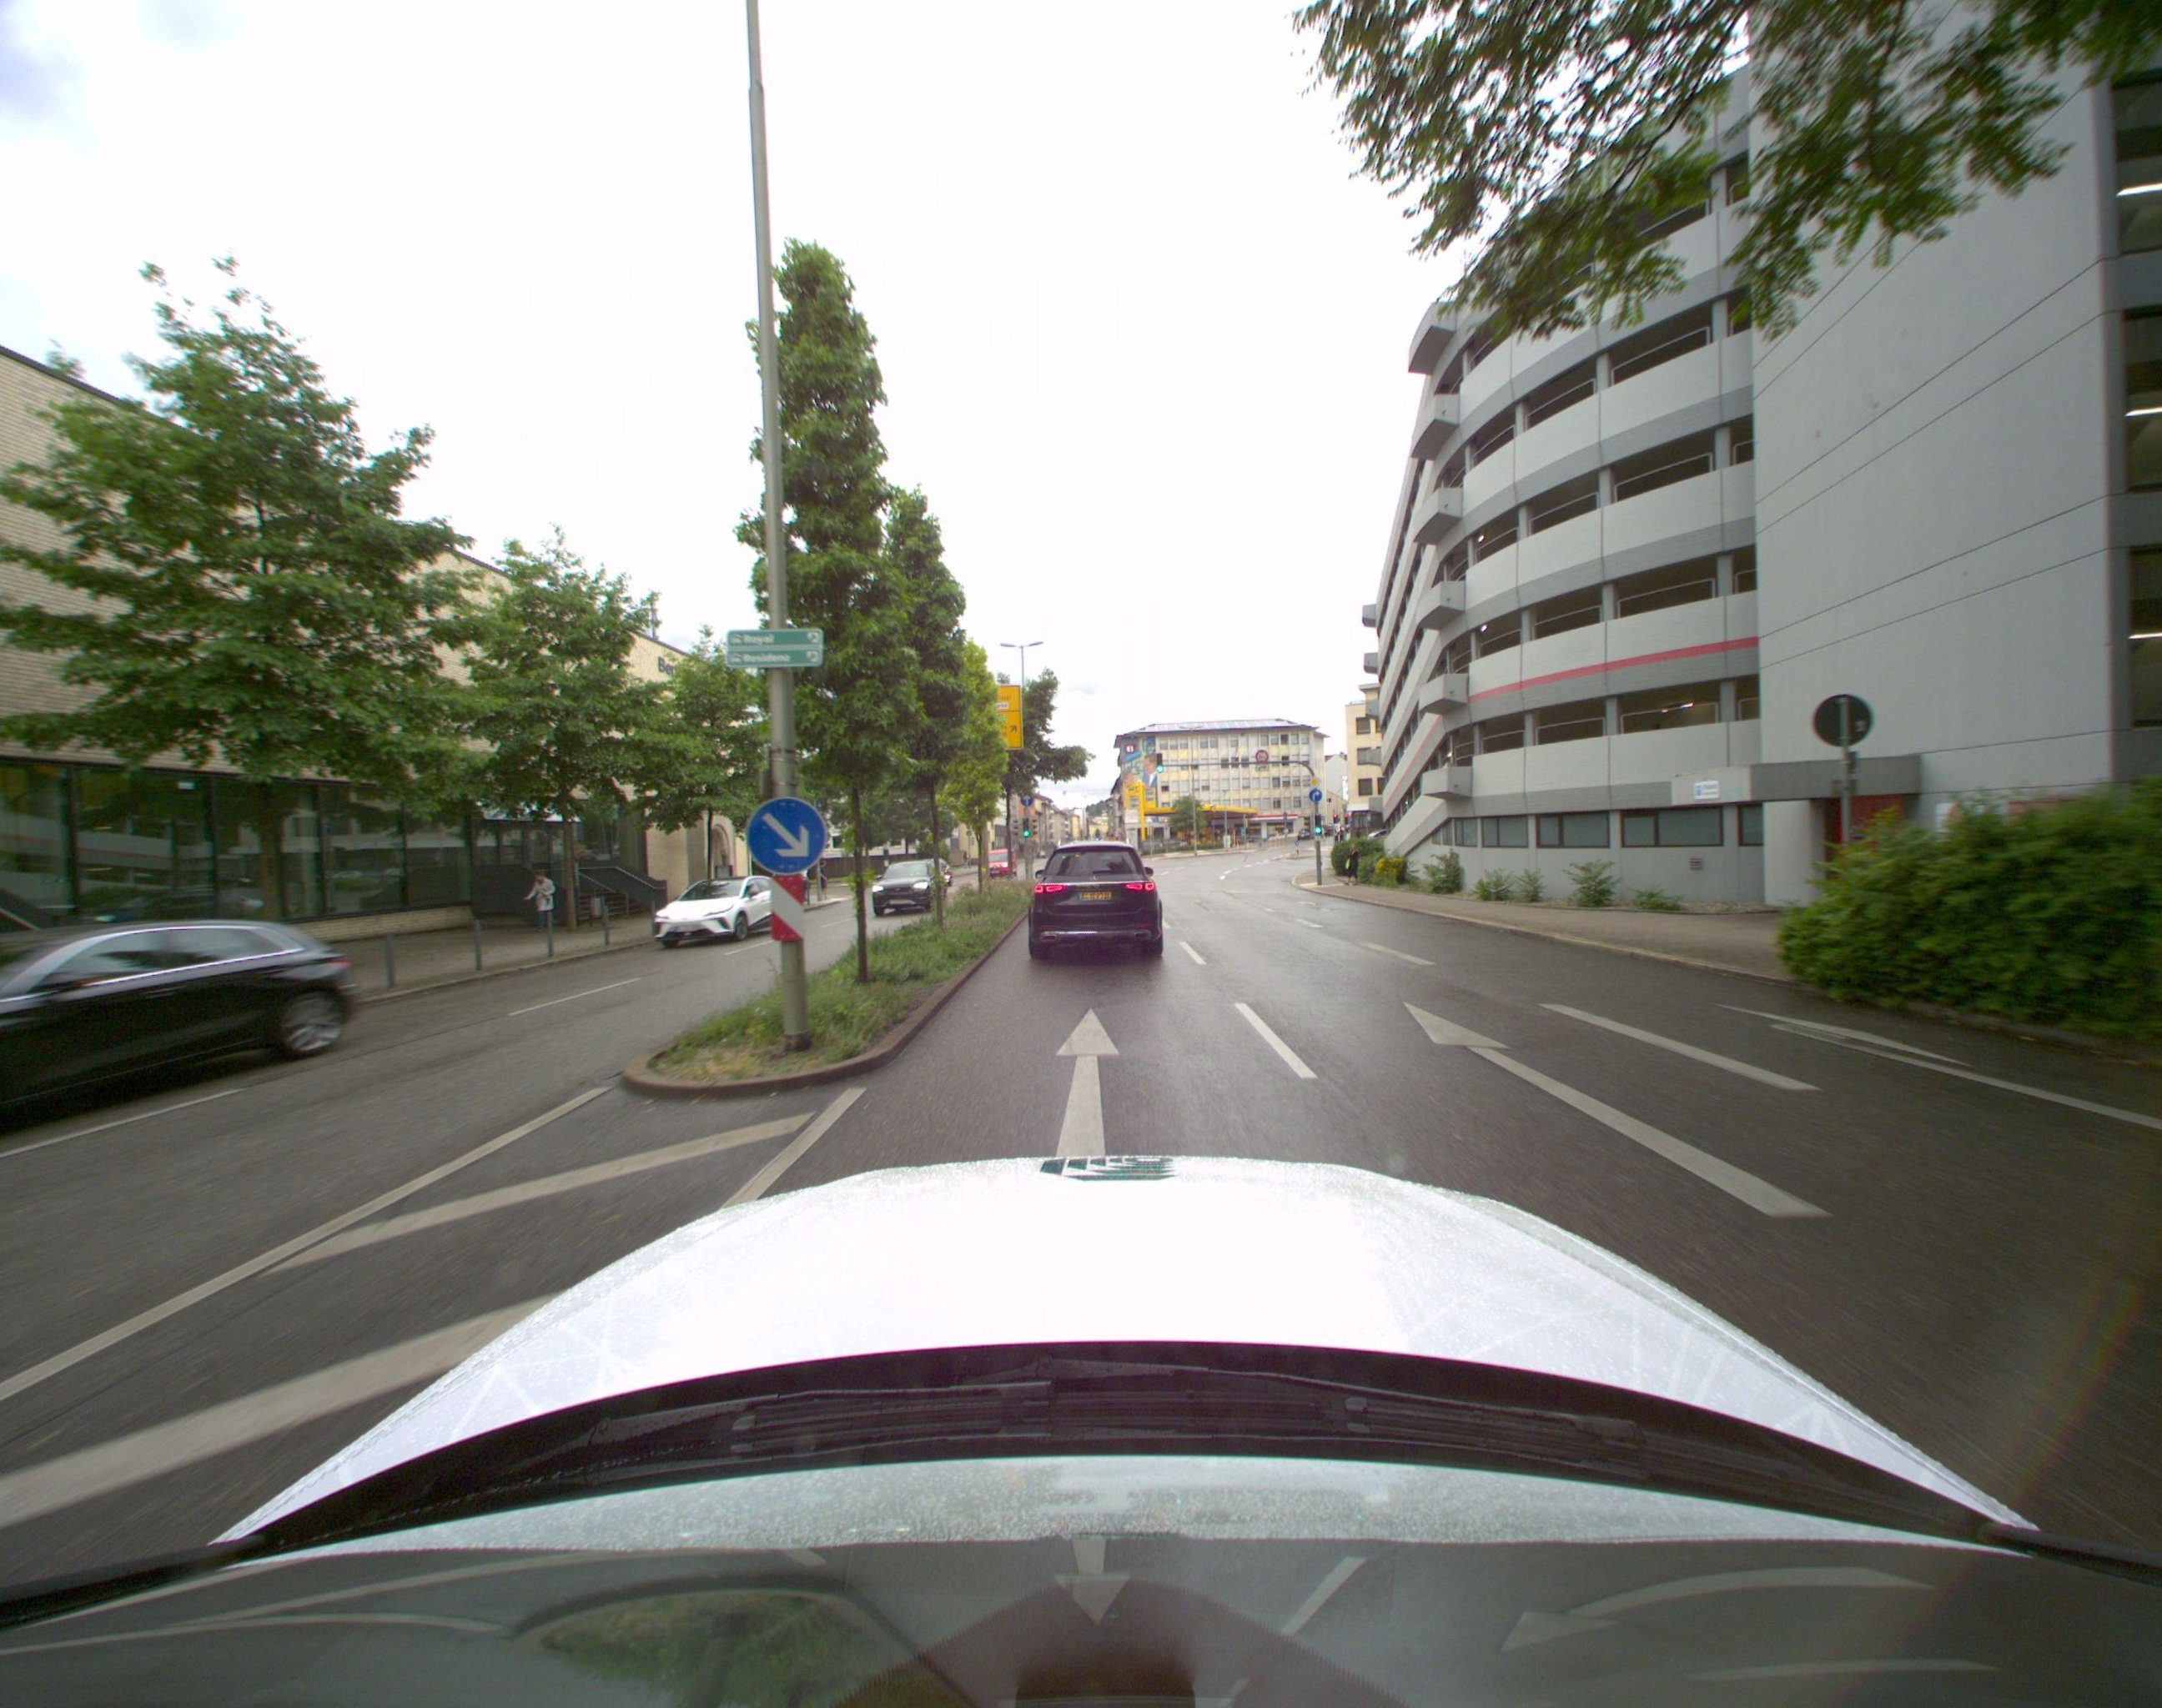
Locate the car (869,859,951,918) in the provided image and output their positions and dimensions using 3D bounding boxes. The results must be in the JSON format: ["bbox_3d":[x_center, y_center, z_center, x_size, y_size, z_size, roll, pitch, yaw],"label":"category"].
[{"bbox_3d":[-5.432,1.029,26.361,1.728,1.625,4.229,-4,0,-1],"label":"car"}]

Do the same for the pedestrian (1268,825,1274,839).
[{"bbox_3d":[24.590,-2.818,105.139,0.521,1.727,0.693,-2,0,28],"label":"pedestrian"}]

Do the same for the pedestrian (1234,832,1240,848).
[{"bbox_3d":[17.071,-1.488,88.974,0.570,1.697,0.631,0,-1,2],"label":"pedestrian"}]

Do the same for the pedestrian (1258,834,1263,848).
[{"bbox_3d":[18.061,-1.272,81.903,0.394,1.400,0.447,0,-1,2],"label":"pedestrian"}]

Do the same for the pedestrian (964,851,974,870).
[{"bbox_3d":[-10.820,0.628,78.906,0.642,1.727,0.633,-3,0,42],"label":"pedestrian"}]

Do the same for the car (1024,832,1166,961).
[{"bbox_3d":[0.244,0.632,13.473,1.986,1.800,4.001,0,-1,1],"label":"car"}]

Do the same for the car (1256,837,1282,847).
[{"bbox_3d":[26.861,-1.702,116.457,1.974,1.398,4.025,-1,-1,40],"label":"car"}]

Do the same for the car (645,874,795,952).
[{"bbox_3d":[-8.611,1.346,19.858,1.728,1.469,4.229,-4,0,-1],"label":"car"}]

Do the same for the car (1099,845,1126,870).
[{"bbox_3d":[2.342,0.296,60.952,1.986,1.800,4.001,0,-1,1],"label":"car"}]

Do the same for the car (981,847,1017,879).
[{"bbox_3d":[-5.265,0.595,52.882,1.787,1.854,4.790,-4,0,-1],"label":"car"}]

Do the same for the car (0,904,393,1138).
[{"bbox_3d":[-8.123,1.269,6.458,1.728,1.394,4.197,-4,0,-1],"label":"car"}]

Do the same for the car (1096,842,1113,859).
[{"bbox_3d":[2.820,-0.408,97.773,1.987,2.014,4.000,0,-1,0],"label":"car"}]

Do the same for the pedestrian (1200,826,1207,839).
[{"bbox_3d":[15.744,-2.752,104.608,0.521,1.727,0.693,-2,0,31],"label":"pedestrian"}]

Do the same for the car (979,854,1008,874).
[{"bbox_3d":[-7.306,0.794,68.578,1.840,1.429,4.435,-4,1,1],"label":"car"}]

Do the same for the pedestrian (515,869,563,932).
[{"bbox_3d":[-14.712,1.253,22.129,0.641,1.666,1.017,0,-1,-5],"label":"pedestrian"}]

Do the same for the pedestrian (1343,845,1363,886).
[{"bbox_3d":[11.346,0.477,33.981,0.638,1.710,0.474,-2,-2,37],"label":"pedestrian"}]

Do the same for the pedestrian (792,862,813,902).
[{"bbox_3d":[-11.826,1.169,34.610,0.609,1.656,0.691,-3,0,-1],"label":"pedestrian"}]

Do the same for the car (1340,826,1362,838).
[{"bbox_3d":[41.450,-3.446,124.882,1.974,1.706,4.026,-3,0,35],"label":"car"}]

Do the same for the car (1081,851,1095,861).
[{"bbox_3d":[1.163,0.315,134.040,1.985,1.547,4.194,0,-1,4],"label":"car"}]

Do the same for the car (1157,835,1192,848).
[{"bbox_3d":[11.134,-1.479,97.175,1.747,1.376,3.951,-3,0,-42],"label":"car"}]

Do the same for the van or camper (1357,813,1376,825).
[{"bbox_3d":[52.017,-6.424,148.297,1.974,1.979,4.543,-3,0,35],"label":"van or camper"}]

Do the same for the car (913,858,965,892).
[{"bbox_3d":[-7.569,1.059,43.817,1.882,1.587,4.536,-4,0,0],"label":"car"}]

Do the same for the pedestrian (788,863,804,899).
[{"bbox_3d":[-12.567,1.198,35.937,0.437,1.534,0.545,-3,0,-1],"label":"pedestrian"}]

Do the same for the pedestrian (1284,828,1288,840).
[{"bbox_3d":[26.764,-2.621,106.258,0.478,1.641,0.441,-1,-2,30],"label":"pedestrian"}]

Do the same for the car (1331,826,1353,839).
[{"bbox_3d":[38.593,-3.172,120.350,1.974,1.706,4.026,-3,0,35],"label":"car"}]

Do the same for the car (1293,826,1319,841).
[{"bbox_3d":[29.631,-2.691,106.969,1.974,1.706,4.026,-3,0,35],"label":"car"}]

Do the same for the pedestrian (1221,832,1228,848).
[{"bbox_3d":[15.926,-1.548,90.313,0.521,1.727,0.693,-2,0,28],"label":"pedestrian"}]

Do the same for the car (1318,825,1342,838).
[{"bbox_3d":[35.327,-3.211,115.354,1.974,1.706,4.026,-3,0,35],"label":"car"}]

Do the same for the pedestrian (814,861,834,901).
[{"bbox_3d":[-11.507,1.212,36.486,0.687,1.757,0.716,-2,0,-10],"label":"pedestrian"}]

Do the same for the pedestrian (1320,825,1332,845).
[{"bbox_3d":[27.133,-2.060,90.109,0.853,2.128,0.947,-3,0,-5],"label":"pedestrian"}]

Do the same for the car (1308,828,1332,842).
[{"bbox_3d":[32.655,-2.639,111.184,1.974,1.706,4.026,-3,0,35],"label":"car"}]

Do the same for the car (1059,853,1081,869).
[{"bbox_3d":[-1.049,0.708,80.268,1.986,1.614,4.190,0,-1,1],"label":"car"}]
